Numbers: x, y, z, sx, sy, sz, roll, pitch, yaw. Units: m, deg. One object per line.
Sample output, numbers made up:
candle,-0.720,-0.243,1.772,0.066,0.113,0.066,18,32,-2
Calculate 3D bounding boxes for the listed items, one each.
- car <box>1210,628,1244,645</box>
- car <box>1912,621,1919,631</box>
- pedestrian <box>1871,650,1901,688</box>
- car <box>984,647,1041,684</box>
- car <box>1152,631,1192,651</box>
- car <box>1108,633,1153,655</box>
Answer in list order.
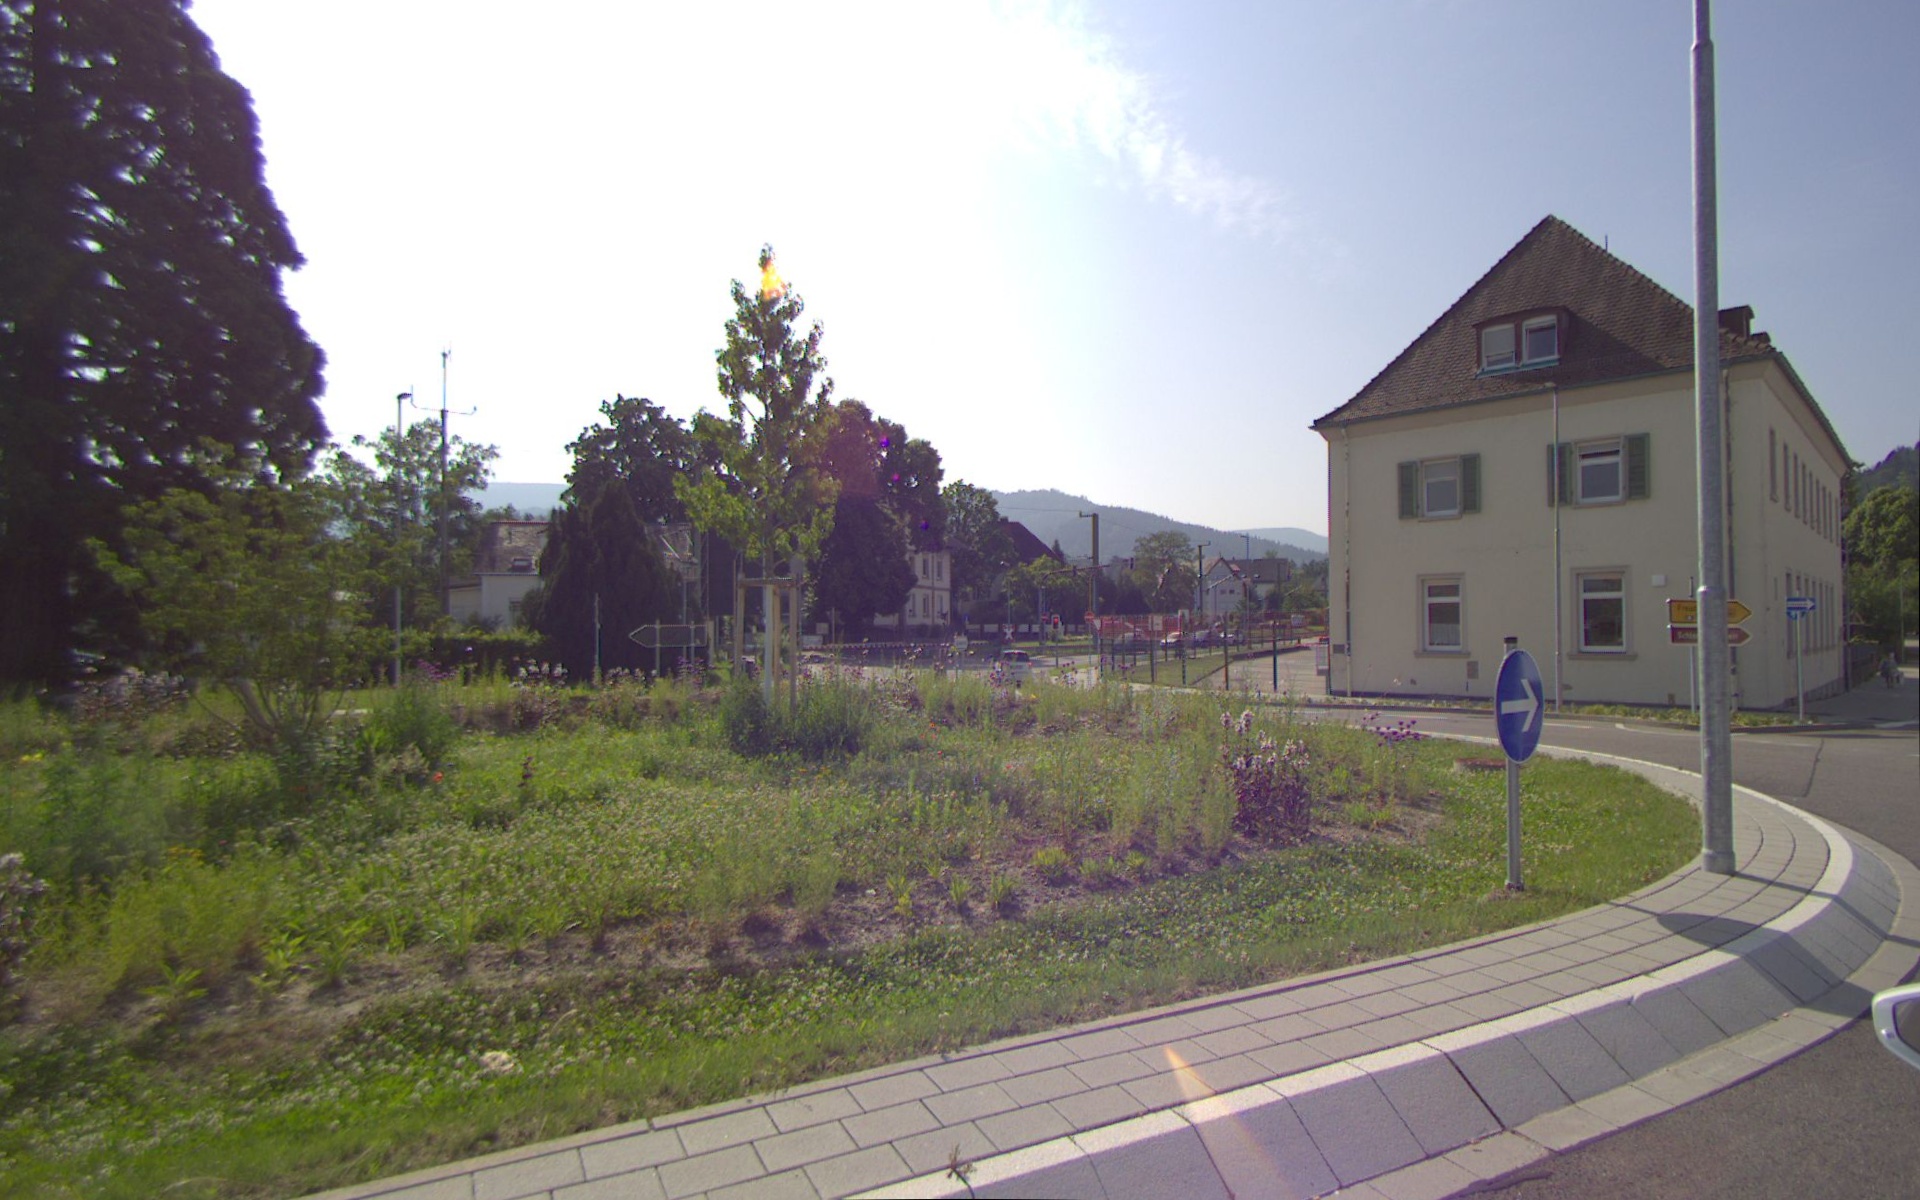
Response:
car,24.318,3.284,91.325,1.687,1.416,3.985,1,0,36
car,151.354,4.097,158.251,1.789,1.618,3.908,1,0,40
pedestrian,41.578,3.073,45.104,0.948,1.652,0.753,-1,-2,45
car,2.331,2.918,45.332,1.684,1.416,3.992,1,0,-10
car,17.105,3.264,81.081,1.687,1.416,3.985,1,0,36
car,12.664,3.253,74.443,1.687,1.416,3.985,1,0,36
